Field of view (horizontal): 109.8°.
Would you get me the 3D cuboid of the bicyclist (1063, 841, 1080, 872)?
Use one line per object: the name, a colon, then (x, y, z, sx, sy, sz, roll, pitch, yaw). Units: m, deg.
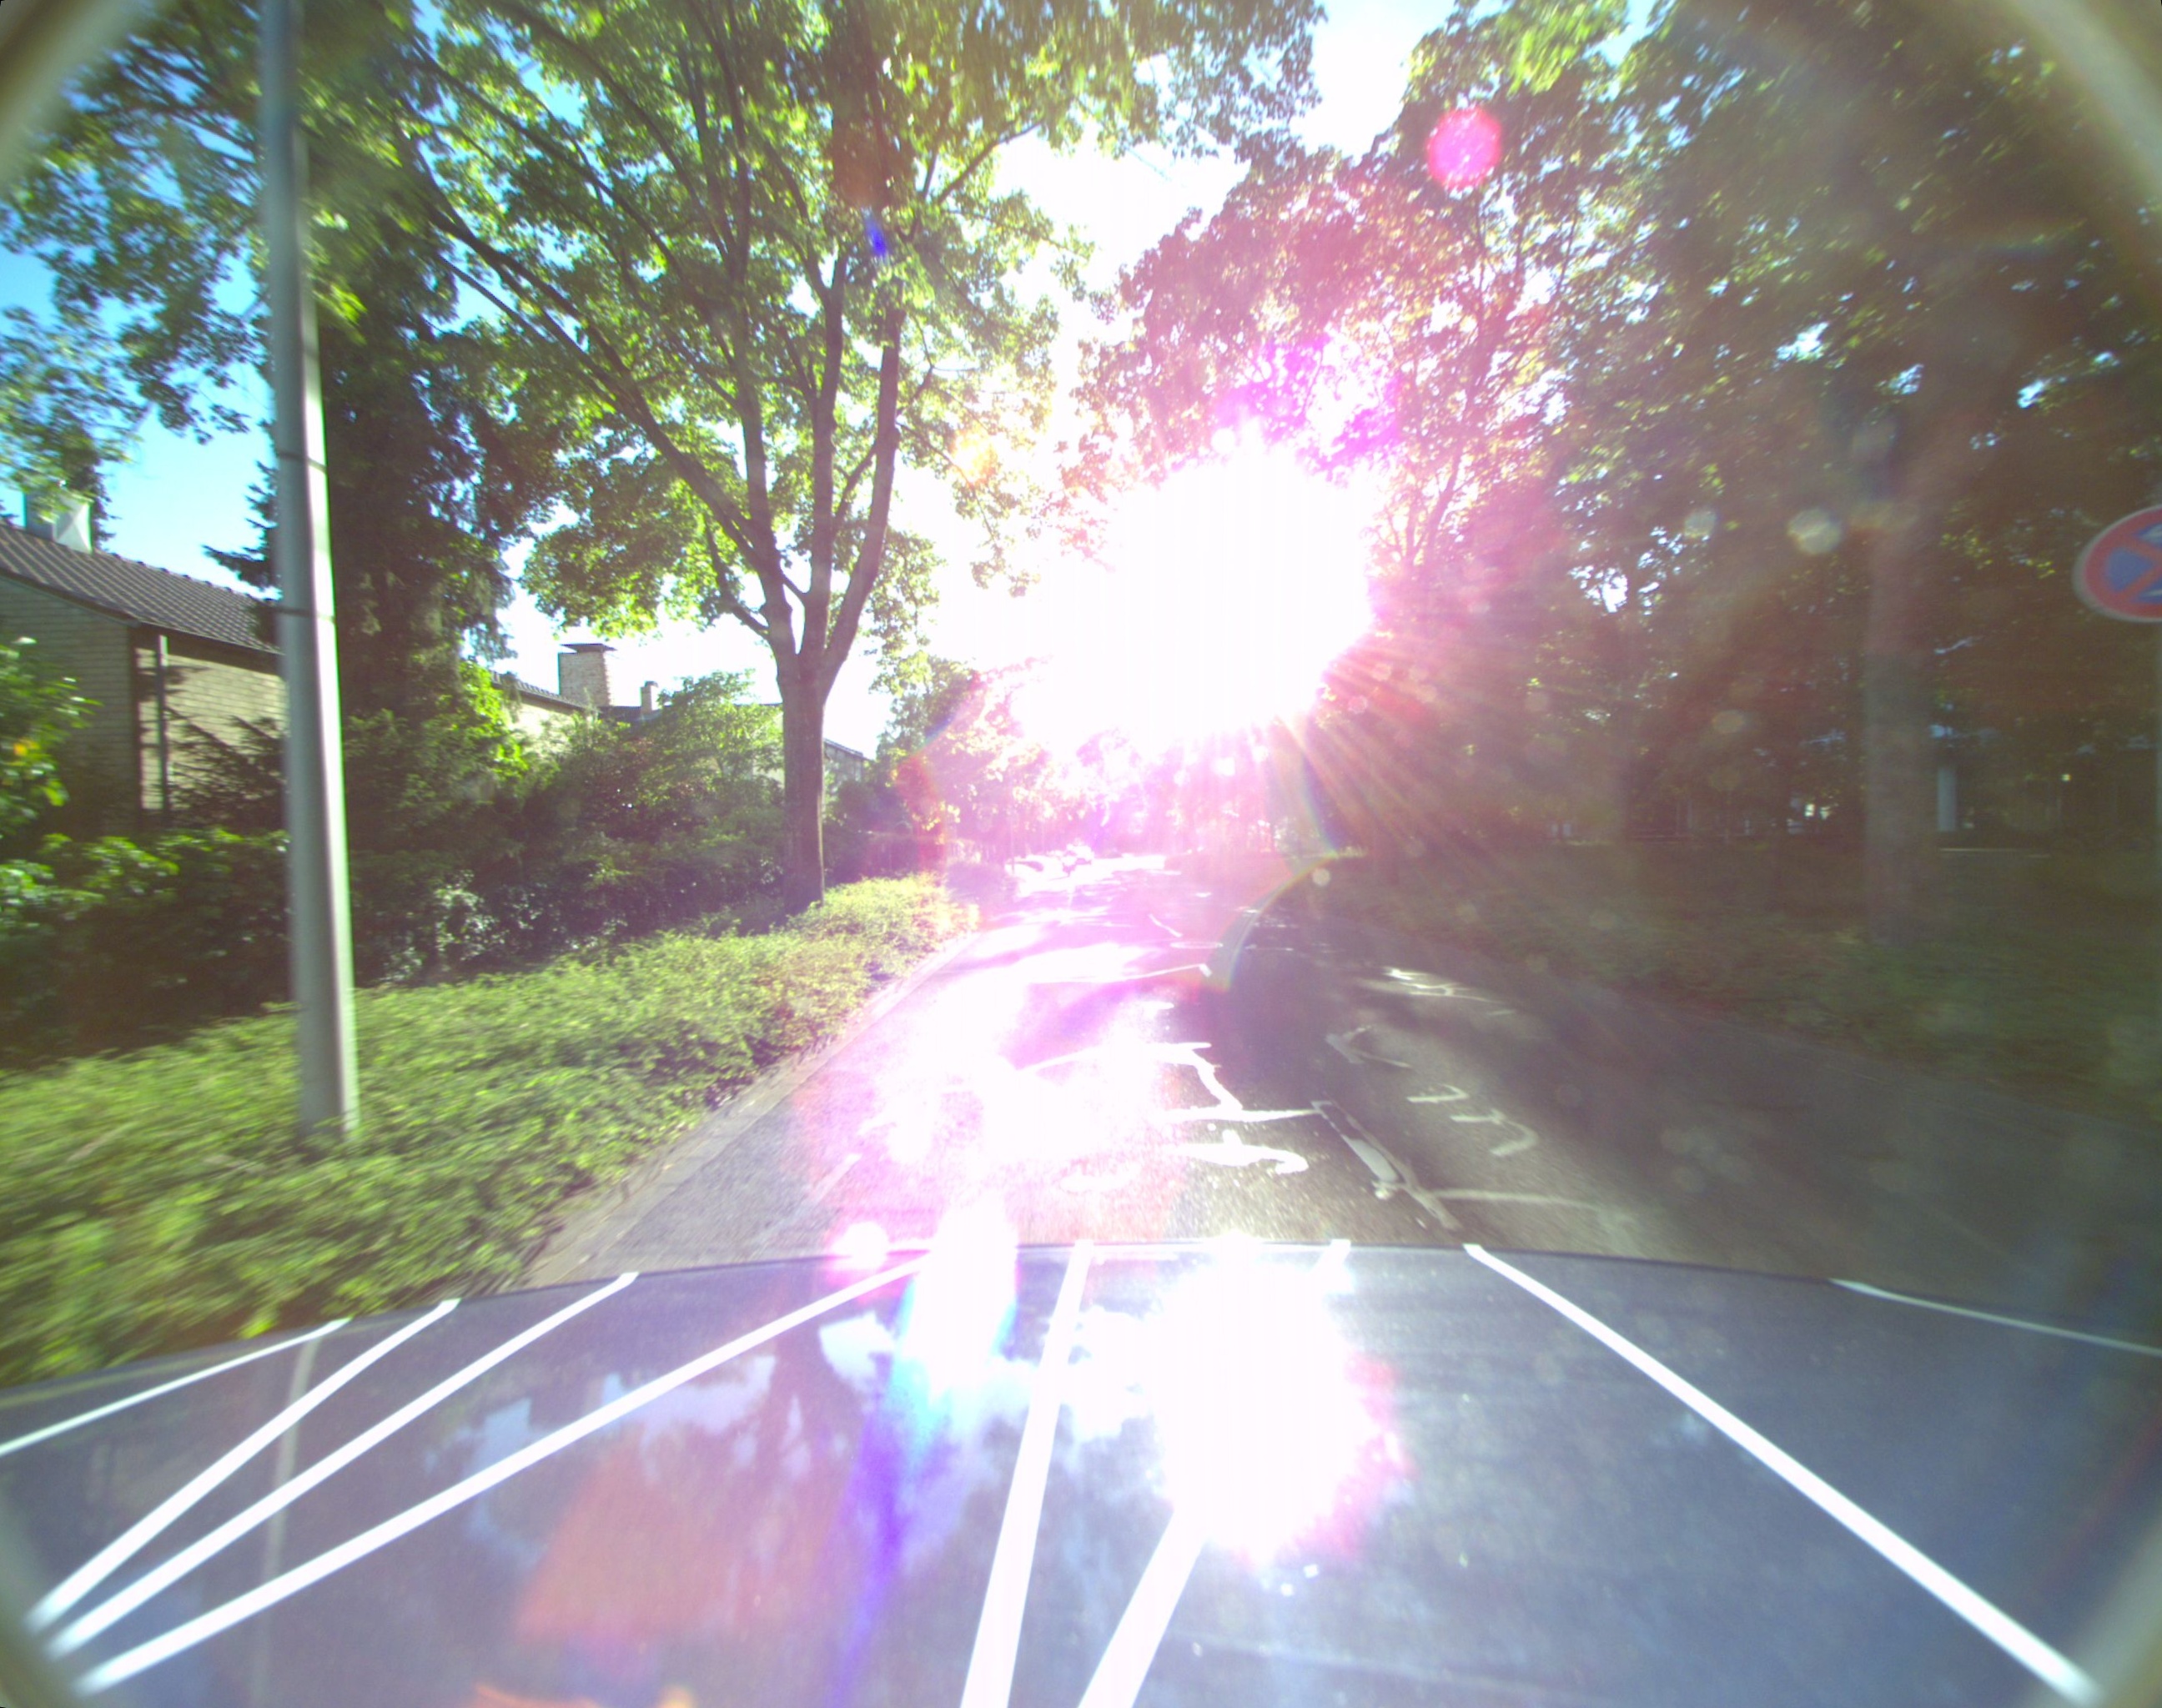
bicyclist: (-0.540, 0.129, 41.707, 0.819, 1.635, 0.744, -3, 2, -1)

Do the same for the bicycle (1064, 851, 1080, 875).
bicycle: (-0.516, 0.473, 41.789, 0.829, 1.182, 2.301, -2, 1, -1)
